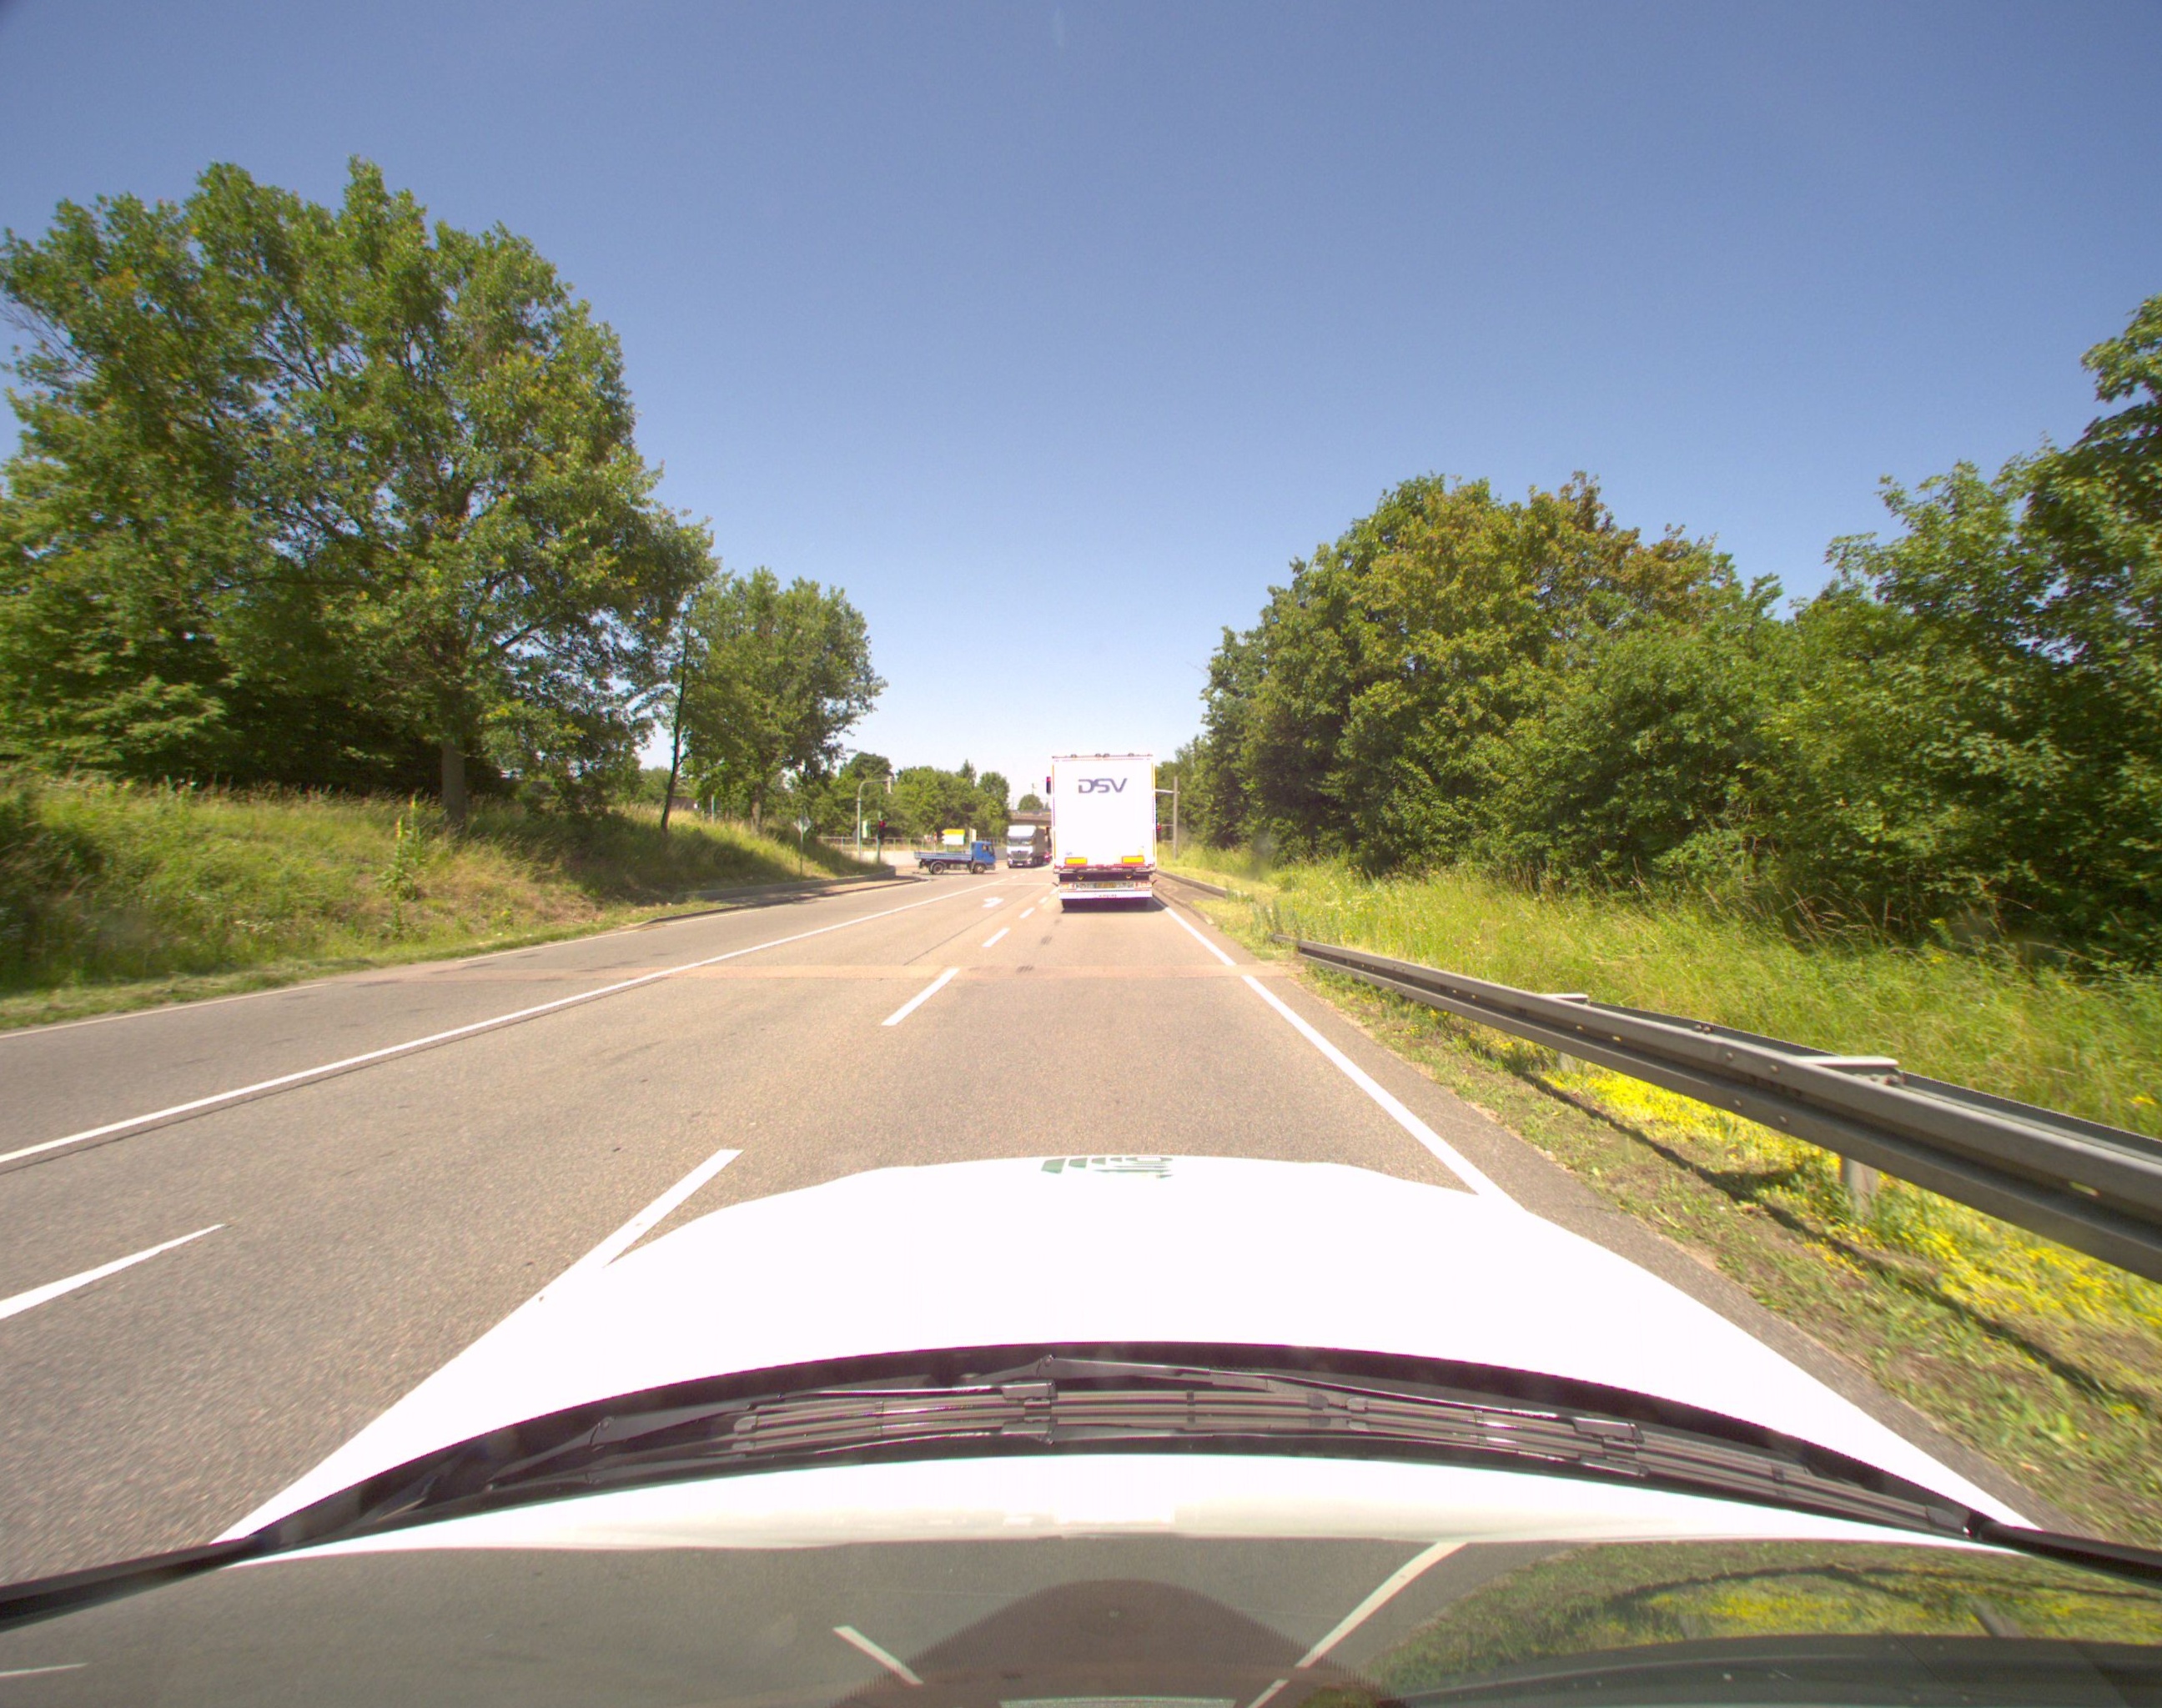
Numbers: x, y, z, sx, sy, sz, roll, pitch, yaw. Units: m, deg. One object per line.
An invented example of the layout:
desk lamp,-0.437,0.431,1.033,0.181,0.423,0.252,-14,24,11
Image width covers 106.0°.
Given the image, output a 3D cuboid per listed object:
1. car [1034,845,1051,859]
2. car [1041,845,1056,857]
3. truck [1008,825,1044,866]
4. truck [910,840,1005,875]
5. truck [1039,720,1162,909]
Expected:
car,-4.667,-0.262,99.506,1.740,1.626,3.704,-1,1,1
car,-4.496,-0.411,112.911,1.740,1.626,3.704,-1,1,1
truck,-5.458,-0.887,82.210,2.344,3.749,12.631,-1,1,2
truck,-9.060,0.222,59.681,6.435,2.499,2.695,0,0,-22
truck,0.739,-0.973,24.825,2.937,4.568,9.870,-1,0,3
